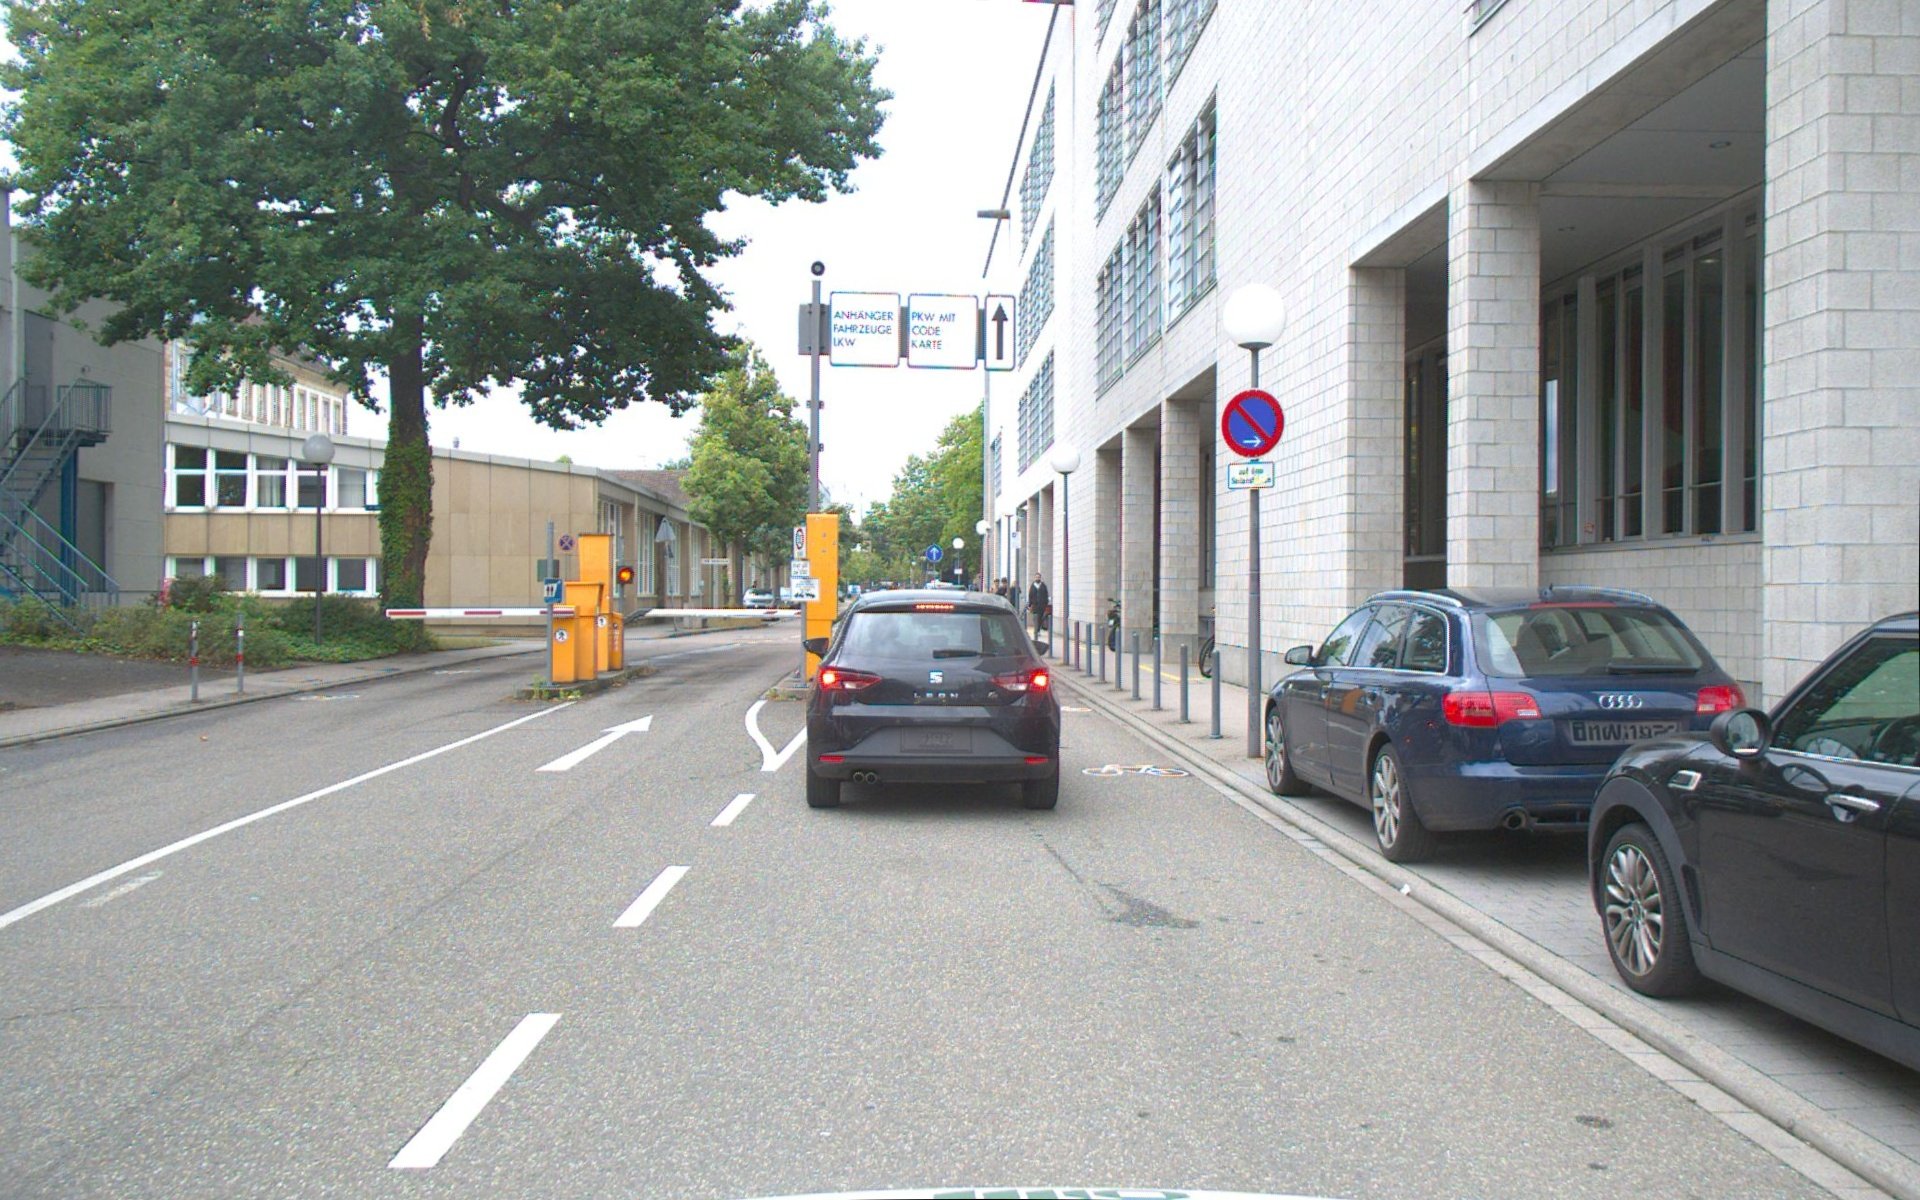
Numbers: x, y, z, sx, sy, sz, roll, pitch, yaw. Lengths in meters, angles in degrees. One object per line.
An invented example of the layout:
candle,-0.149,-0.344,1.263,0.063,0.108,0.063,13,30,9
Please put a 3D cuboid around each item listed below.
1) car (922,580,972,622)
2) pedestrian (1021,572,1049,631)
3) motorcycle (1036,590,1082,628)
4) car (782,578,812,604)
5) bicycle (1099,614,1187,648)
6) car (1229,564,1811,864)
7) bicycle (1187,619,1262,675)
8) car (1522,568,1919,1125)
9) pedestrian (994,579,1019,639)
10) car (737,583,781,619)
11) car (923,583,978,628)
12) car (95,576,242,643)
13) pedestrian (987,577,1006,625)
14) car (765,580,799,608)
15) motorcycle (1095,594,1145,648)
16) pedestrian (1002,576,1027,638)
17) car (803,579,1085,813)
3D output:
car,-0.592,0.033,69.655,1.953,1.651,4.426,-2,1,-2
pedestrian,2.243,0.038,49.660,0.714,1.728,0.587,1,2,-8
motorcycle,3.380,0.296,56.414,0.744,1.168,2.663,2,3,22
car,-10.345,-0.568,105.031,1.735,1.629,3.997,0,0,-4
bicycle,4.048,0.686,36.667,1.860,0.711,0.492,1,2,-6
car,3.197,0.558,10.694,1.953,1.477,4.920,0,0,-2
bicycle,4.263,0.732,26.564,0.453,0.764,2.292,-4,-1,27
car,3.424,0.643,4.864,1.781,1.468,4.518,-2,1,-3
pedestrian,1.351,0.258,48.529,0.676,1.728,0.588,1,2,-1
car,-9.296,0.019,76.769,1.735,1.629,3.998,0,0,-3
car,-0.428,0.220,65.130,1.954,1.651,4.425,-1,0,-3
car,-19.360,0.204,40.633,1.826,1.557,3.998,0,0,-3
pedestrian,1.321,0.039,59.770,0.682,1.744,0.489,1,0,2
car,-10.682,-0.377,99.512,1.734,1.629,3.998,0,0,-3
motorcycle,3.849,0.477,39.665,0.554,1.168,2.217,2,3,22
pedestrian,1.537,0.199,46.526,0.682,1.744,0.489,1,0,1
car,-0.189,0.579,12.367,1.746,1.444,4.127,0,1,-3
